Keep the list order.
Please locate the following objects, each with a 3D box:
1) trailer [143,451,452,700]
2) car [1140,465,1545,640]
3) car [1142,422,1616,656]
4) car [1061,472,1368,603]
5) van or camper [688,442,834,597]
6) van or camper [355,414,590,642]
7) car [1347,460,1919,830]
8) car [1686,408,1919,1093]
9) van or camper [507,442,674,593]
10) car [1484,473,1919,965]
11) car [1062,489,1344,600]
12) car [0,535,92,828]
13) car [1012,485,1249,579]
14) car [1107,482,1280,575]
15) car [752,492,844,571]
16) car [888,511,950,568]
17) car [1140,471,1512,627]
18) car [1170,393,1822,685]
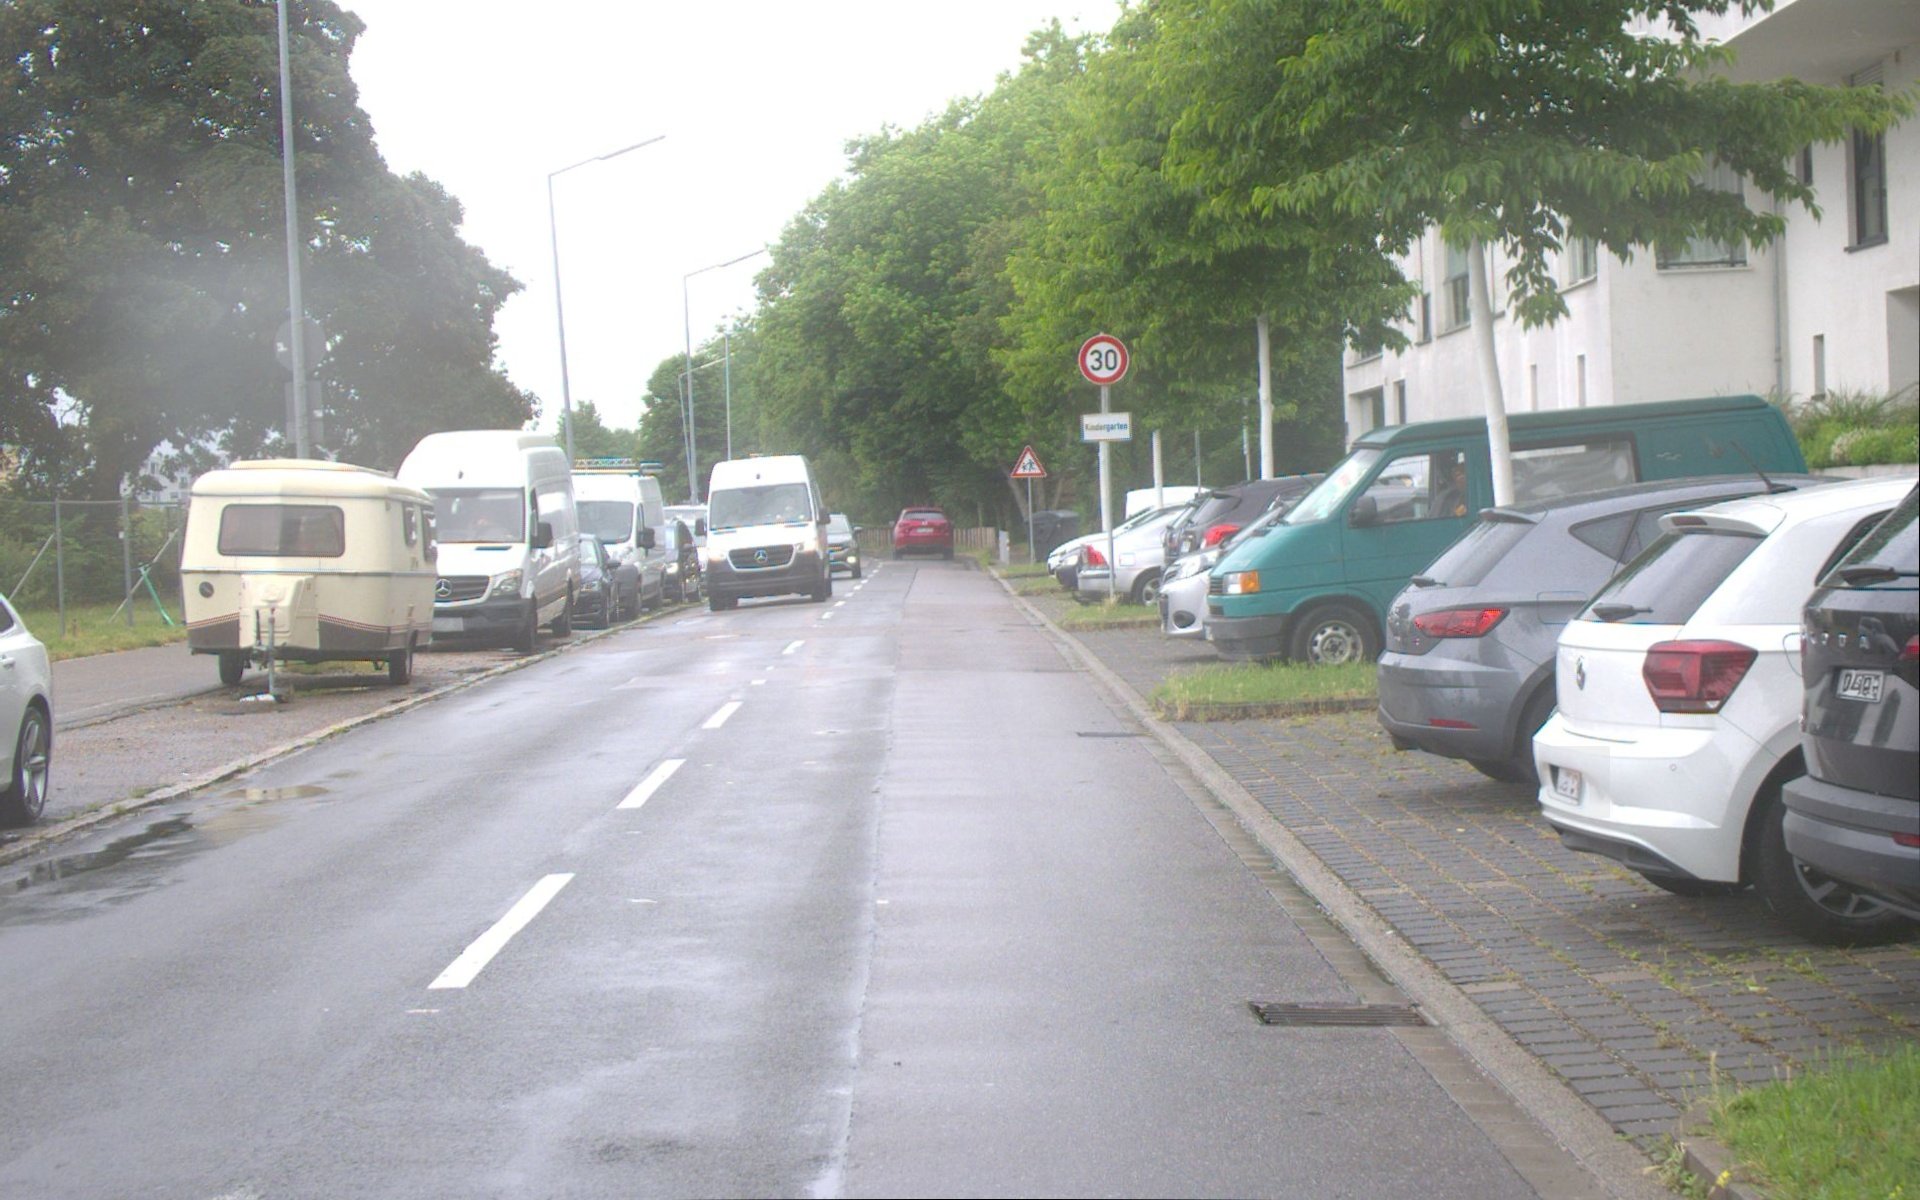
[{"bbox_3d":[-6.359,-0.296,33.681,2.058,2.210,5.795,-1,1,-2],"label":"trailer"},{"bbox_3d":[3.975,-0.513,36.103,3.882,1.675,1.864,-2,2,-5],"label":"car"},{"bbox_3d":[3.811,-0.571,31.733,4.094,1.888,1.727,-3,2,1],"label":"car"},{"bbox_3d":[3.785,-0.943,51.701,4.387,1.770,2.005,-2,1,-1],"label":"car"},{"bbox_3d":[-3.441,-1.428,60.711,1.993,2.488,7.178,-3,1,0],"label":"van or camper"},{"bbox_3d":[-6.351,-0.957,45.743,1.993,2.752,7.899,-1,1,0],"label":"van or camper"},{"bbox_3d":[3.997,0.125,16.151,4.030,1.494,1.632,-4,1,-3],"label":"car"},{"bbox_3d":[4.261,0.208,9.057,4.161,1.619,1.898,-4,1,-3],"label":"car"},{"bbox_3d":[-6.333,-1.423,59.669,2.189,2.453,6.377,-1,1,0],"label":"van or camper"},{"bbox_3d":[4.060,0.243,11.341,4.298,1.423,1.637,-4,1,-2],"label":"car"},{"bbox_3d":[3.939,-0.910,56.211,4.387,1.628,2.005,-2,1,-1],"label":"car"},{"bbox_3d":[-5.957,0.439,17.491,1.887,1.520,5.110,1,1,-1],"label":"car"},{"bbox_3d":[3.149,-1.268,64.051,4.091,1.569,1.868,-2,1,-7],"label":"car"},{"bbox_3d":[5.911,-1.808,86.879,3.991,2.285,1.775,0,1,20],"label":"car"},{"bbox_3d":[-3.818,-1.643,81.825,1.882,1.751,4.068,-2,1,1],"label":"car"},{"bbox_3d":[-1.260,-1.905,107.833,1.756,1.700,4.000,-2,1,1],"label":"car"},{"bbox_3d":[4.144,-0.596,39.305,3.882,1.595,1.864,-2,1,-5],"label":"car"},{"bbox_3d":[4.081,-0.481,26.606,4.617,2.012,1.858,-2,1,-4],"label":"car"}]
